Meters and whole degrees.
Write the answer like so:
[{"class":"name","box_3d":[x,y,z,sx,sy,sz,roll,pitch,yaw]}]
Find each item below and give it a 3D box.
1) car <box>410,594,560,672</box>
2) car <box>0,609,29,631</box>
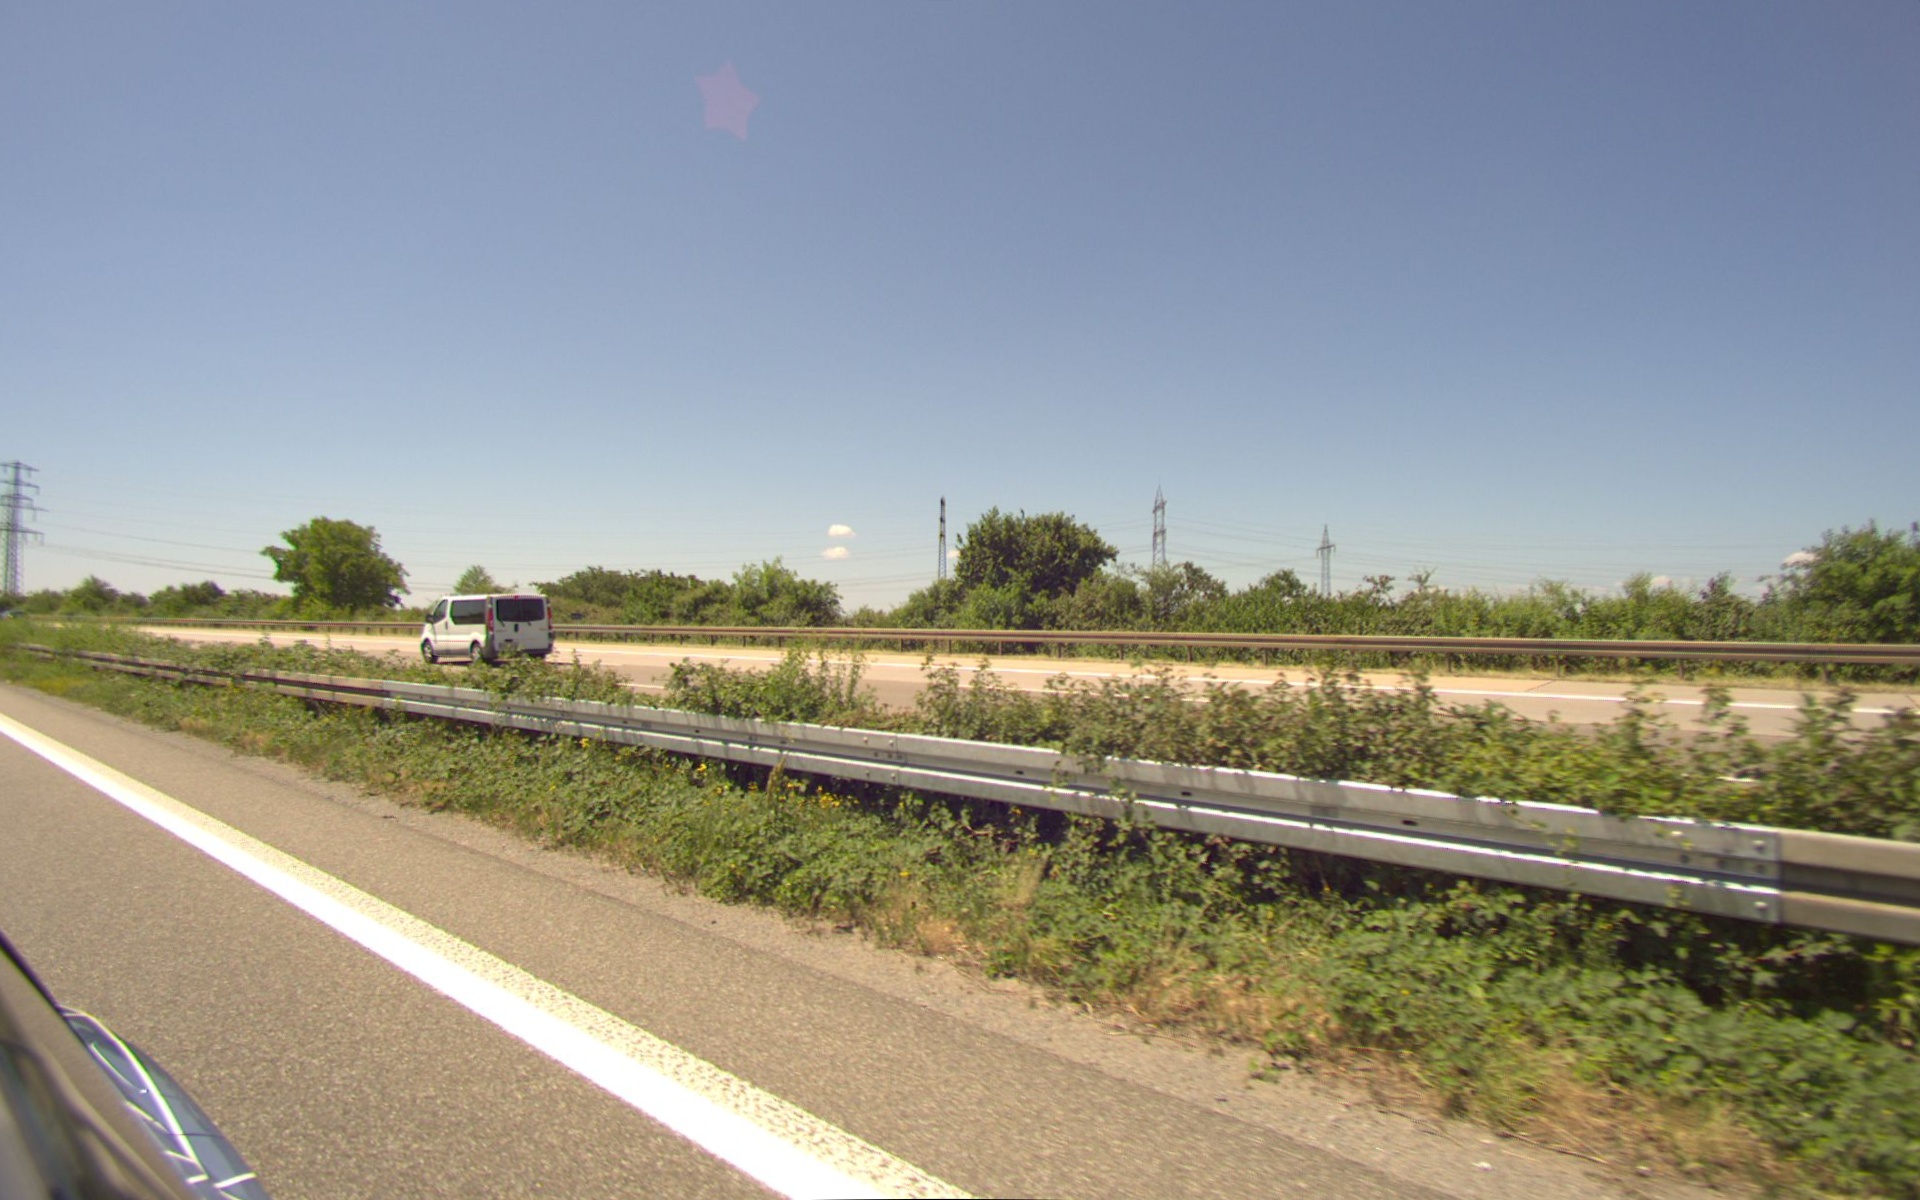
[{"class":"car","box_3d":[-13.358,0.876,28.312,4.819,2.029,1.885,-1,0,39]},{"class":"car","box_3d":[-87.885,1.849,93.606,4.819,2.029,1.885,-1,0,39]}]
